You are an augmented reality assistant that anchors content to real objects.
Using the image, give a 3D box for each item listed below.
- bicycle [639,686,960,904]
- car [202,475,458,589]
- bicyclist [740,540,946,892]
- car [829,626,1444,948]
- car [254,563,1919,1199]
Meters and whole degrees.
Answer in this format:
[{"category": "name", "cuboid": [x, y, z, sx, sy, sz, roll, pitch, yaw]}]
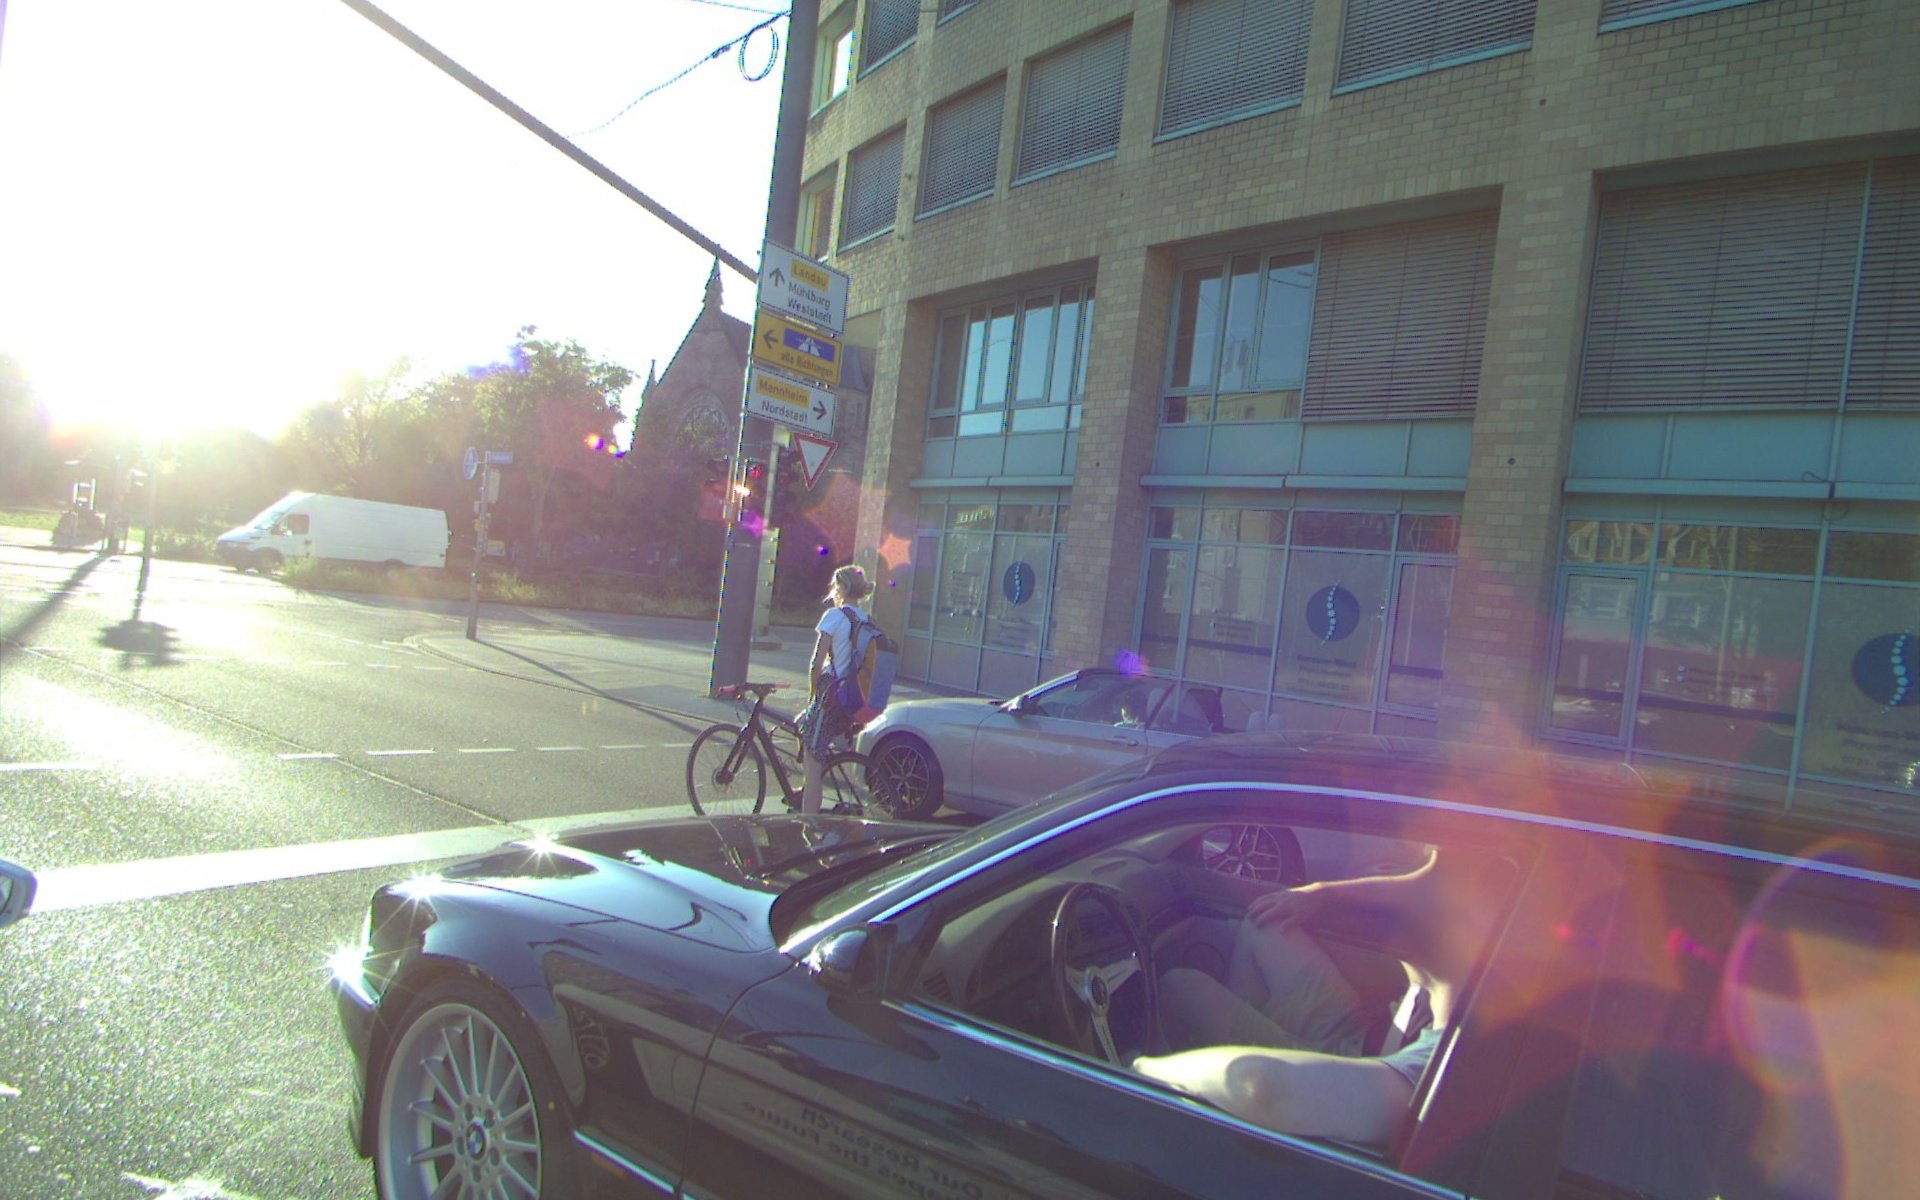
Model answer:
[{"category": "bicycle", "cuboid": [-0.994, 1.087, 6.028, 1.838, 0.884, 0.634, 7, 0, 30]}, {"category": "car", "cuboid": [-21.270, -2.190, 34.427, 2.059, 2.862, 7.017, 7, 0, 33]}, {"category": "bicyclist", "cuboid": [-0.674, 0.635, 5.855, 0.764, 1.843, 0.634, 7, 1, 30]}, {"category": "car", "cuboid": [1.244, 1.197, 7.680, 4.157, 1.401, 1.747, 7, -1, 31]}, {"category": "car", "cuboid": [0.888, 0.934, 2.004, 4.661, 1.402, 1.997, 7, -1, 32]}]
